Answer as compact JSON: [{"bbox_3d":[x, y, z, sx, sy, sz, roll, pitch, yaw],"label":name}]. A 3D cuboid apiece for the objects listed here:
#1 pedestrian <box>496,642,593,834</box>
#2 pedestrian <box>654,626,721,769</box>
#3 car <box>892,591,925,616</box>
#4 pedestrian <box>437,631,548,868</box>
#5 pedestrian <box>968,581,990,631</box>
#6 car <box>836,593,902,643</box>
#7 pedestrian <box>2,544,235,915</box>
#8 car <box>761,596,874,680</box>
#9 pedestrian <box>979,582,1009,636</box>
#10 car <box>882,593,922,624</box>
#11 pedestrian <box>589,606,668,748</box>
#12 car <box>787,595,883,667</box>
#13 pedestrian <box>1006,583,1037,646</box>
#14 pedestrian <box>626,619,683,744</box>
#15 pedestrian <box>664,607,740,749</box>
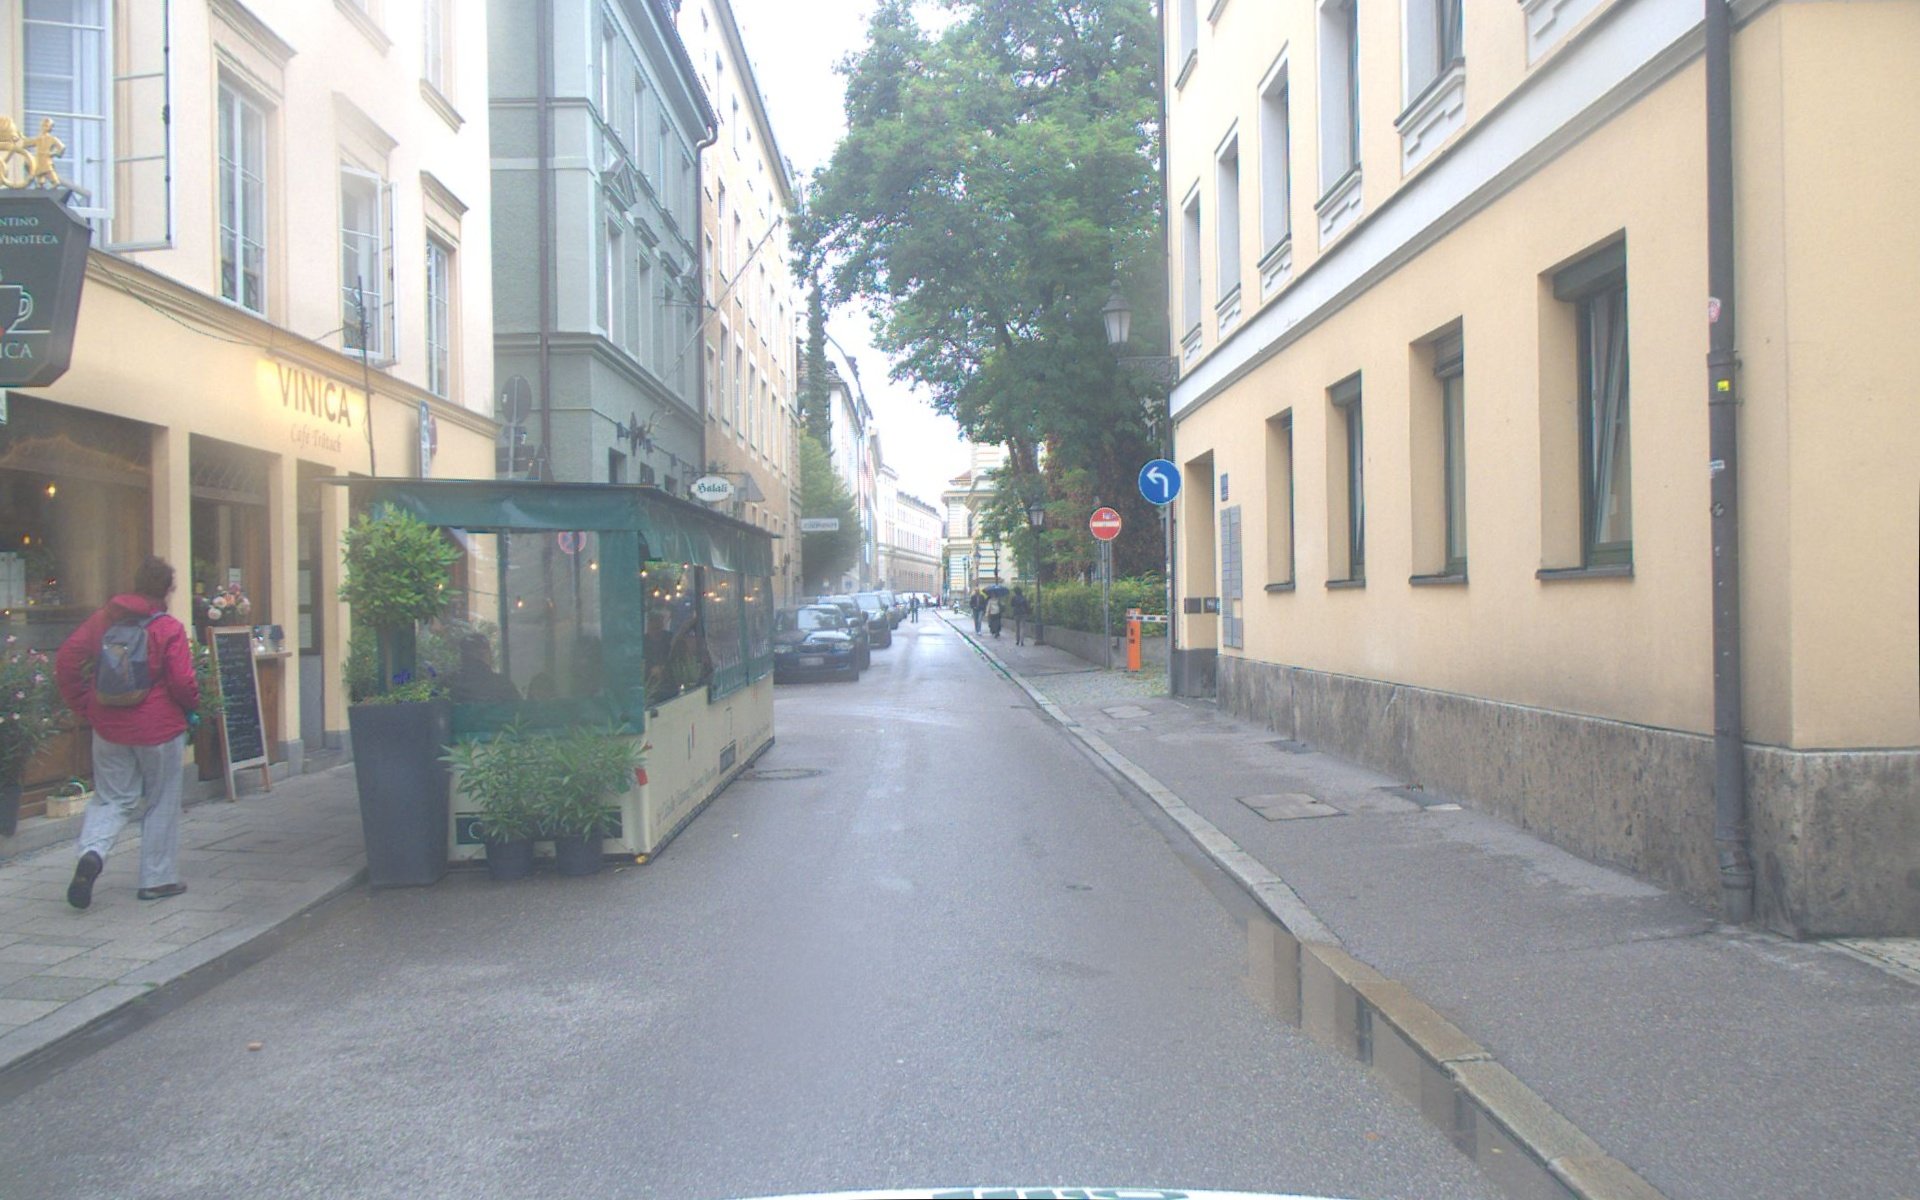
[{"bbox_3d":[-2.716,0.886,10.849,0.499,1.208,0.630,0,0,-3],"label":"pedestrian"},{"bbox_3d":[-2.357,0.833,14.326,0.499,1.196,0.630,0,0,-3],"label":"pedestrian"},{"bbox_3d":[-3.073,0.190,99.206,1.742,1.492,3.542,0,0,1],"label":"car"},{"bbox_3d":[-2.767,0.866,9.832,0.499,1.350,0.630,0,0,-3],"label":"pedestrian"},{"bbox_3d":[0.707,0.224,61.423,0.777,1.833,0.903,0,0,-1],"label":"pedestrian"},{"bbox_3d":[-2.766,0.525,50.981,1.742,1.492,3.542,0,0,1],"label":"car"},{"bbox_3d":[-4.156,0.610,8.228,0.750,1.738,0.785,-1,0,-4],"label":"pedestrian"},{"bbox_3d":[-2.657,0.678,31.513,1.742,1.492,3.663,0,0,1],"label":"car"},{"bbox_3d":[1.162,0.300,56.960,0.995,1.833,1.349,0,0,-1],"label":"pedestrian"},{"bbox_3d":[-2.798,0.397,80.711,1.742,1.492,3.542,0,0,1],"label":"car"},{"bbox_3d":[-3.253,0.742,16.256,0.660,1.350,0.696,0,0,-3],"label":"pedestrian"},{"bbox_3d":[-2.672,0.639,36.025,1.742,1.492,3.542,0,0,1],"label":"car"},{"bbox_3d":[1.780,0.415,48.092,0.862,1.833,1.046,0,0,-1],"label":"pedestrian"},{"bbox_3d":[-3.164,0.832,17.136,0.499,1.259,0.630,0,0,-3],"label":"pedestrian"},{"bbox_3d":[-2.514,0.746,16.151,0.660,1.350,0.696,0,0,-3],"label":"pedestrian"}]
